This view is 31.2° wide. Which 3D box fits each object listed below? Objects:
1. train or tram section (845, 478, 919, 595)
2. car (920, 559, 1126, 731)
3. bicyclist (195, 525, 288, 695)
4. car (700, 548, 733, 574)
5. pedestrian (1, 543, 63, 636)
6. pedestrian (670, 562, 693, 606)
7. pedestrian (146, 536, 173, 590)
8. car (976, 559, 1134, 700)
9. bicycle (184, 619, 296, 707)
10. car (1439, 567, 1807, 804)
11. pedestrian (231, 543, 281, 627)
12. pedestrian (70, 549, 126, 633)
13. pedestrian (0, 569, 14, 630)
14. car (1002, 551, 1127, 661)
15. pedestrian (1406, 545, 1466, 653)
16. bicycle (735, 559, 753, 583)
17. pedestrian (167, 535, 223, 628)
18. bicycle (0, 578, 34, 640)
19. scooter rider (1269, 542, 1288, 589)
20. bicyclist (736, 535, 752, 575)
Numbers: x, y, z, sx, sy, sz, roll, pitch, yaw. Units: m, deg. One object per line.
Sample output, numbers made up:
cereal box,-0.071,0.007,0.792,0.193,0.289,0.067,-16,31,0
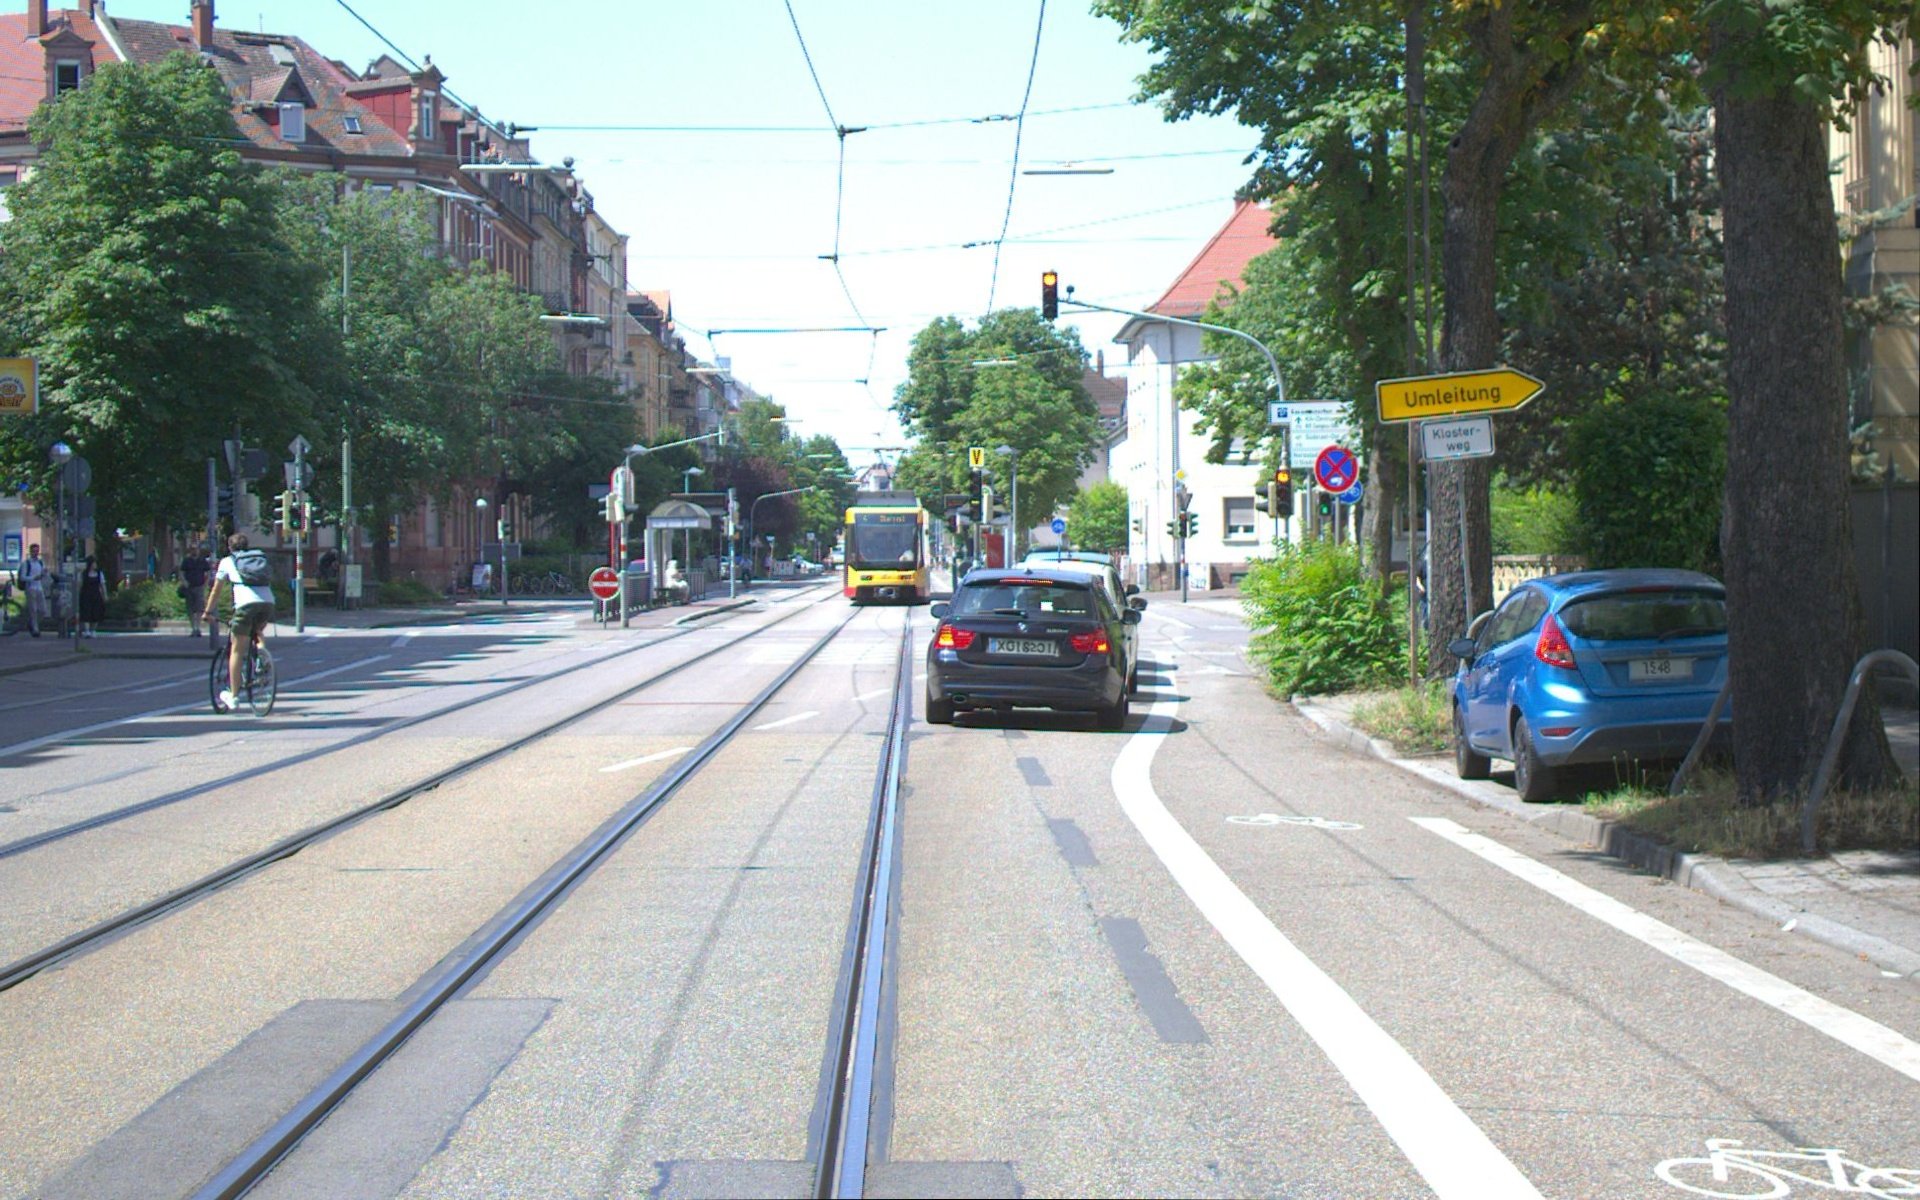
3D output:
train or tram section,-2.408,-1.969,107.311,2.190,3.470,8.846,0,1,-1
car,0.588,0.360,31.778,1.722,1.404,4.565,2,1,1
bicyclist,-7.128,0.093,34.093,0.756,1.657,0.831,1,0,-21
car,-15.619,-2.489,220.470,1.787,1.580,4.001,1,0,-9
pedestrian,-17.456,-0.202,64.668,0.773,1.726,0.862,0,1,-44
pedestrian,-7.761,-0.450,95.890,0.613,1.238,0.628,0,1,-6
pedestrian,-27.241,-1.263,116.995,0.738,1.805,0.641,-1,1,-30
car,1.072,0.297,38.771,1.685,1.479,3.684,0,1,2
bicycle,-7.190,0.616,34.277,0.752,0.815,1.821,-1,1,-23
car,4.391,0.517,23.285,1.677,1.438,3.721,0,1,-1
pedestrian,-14.435,-0.310,70.491,0.916,1.717,0.840,0,1,-7
pedestrian,-16.923,-0.181,67.529,0.860,1.630,1.026,0,1,-2
pedestrian,-17.241,-0.010,60.539,0.915,1.074,0.883,0,1,1
car,1.574,0.056,50.645,1.691,1.508,3.821,2,1,3
pedestrian,7.355,-0.022,53.172,0.857,1.640,0.836,-1,0,4
bicycle,-10.021,-1.346,159.514,0.729,1.098,1.715,-1,1,-1
pedestrian,-15.748,-0.387,70.773,0.900,1.884,1.165,0,1,-1
bicycle,-17.875,0.174,64.114,0.543,1.125,1.682,0,-1,-37
scooter rider,11.499,-1.242,124.196,0.590,1.681,0.528,0,1,-6
bicyclist,-10.007,-2.083,159.477,0.722,1.864,0.825,0,1,-2
